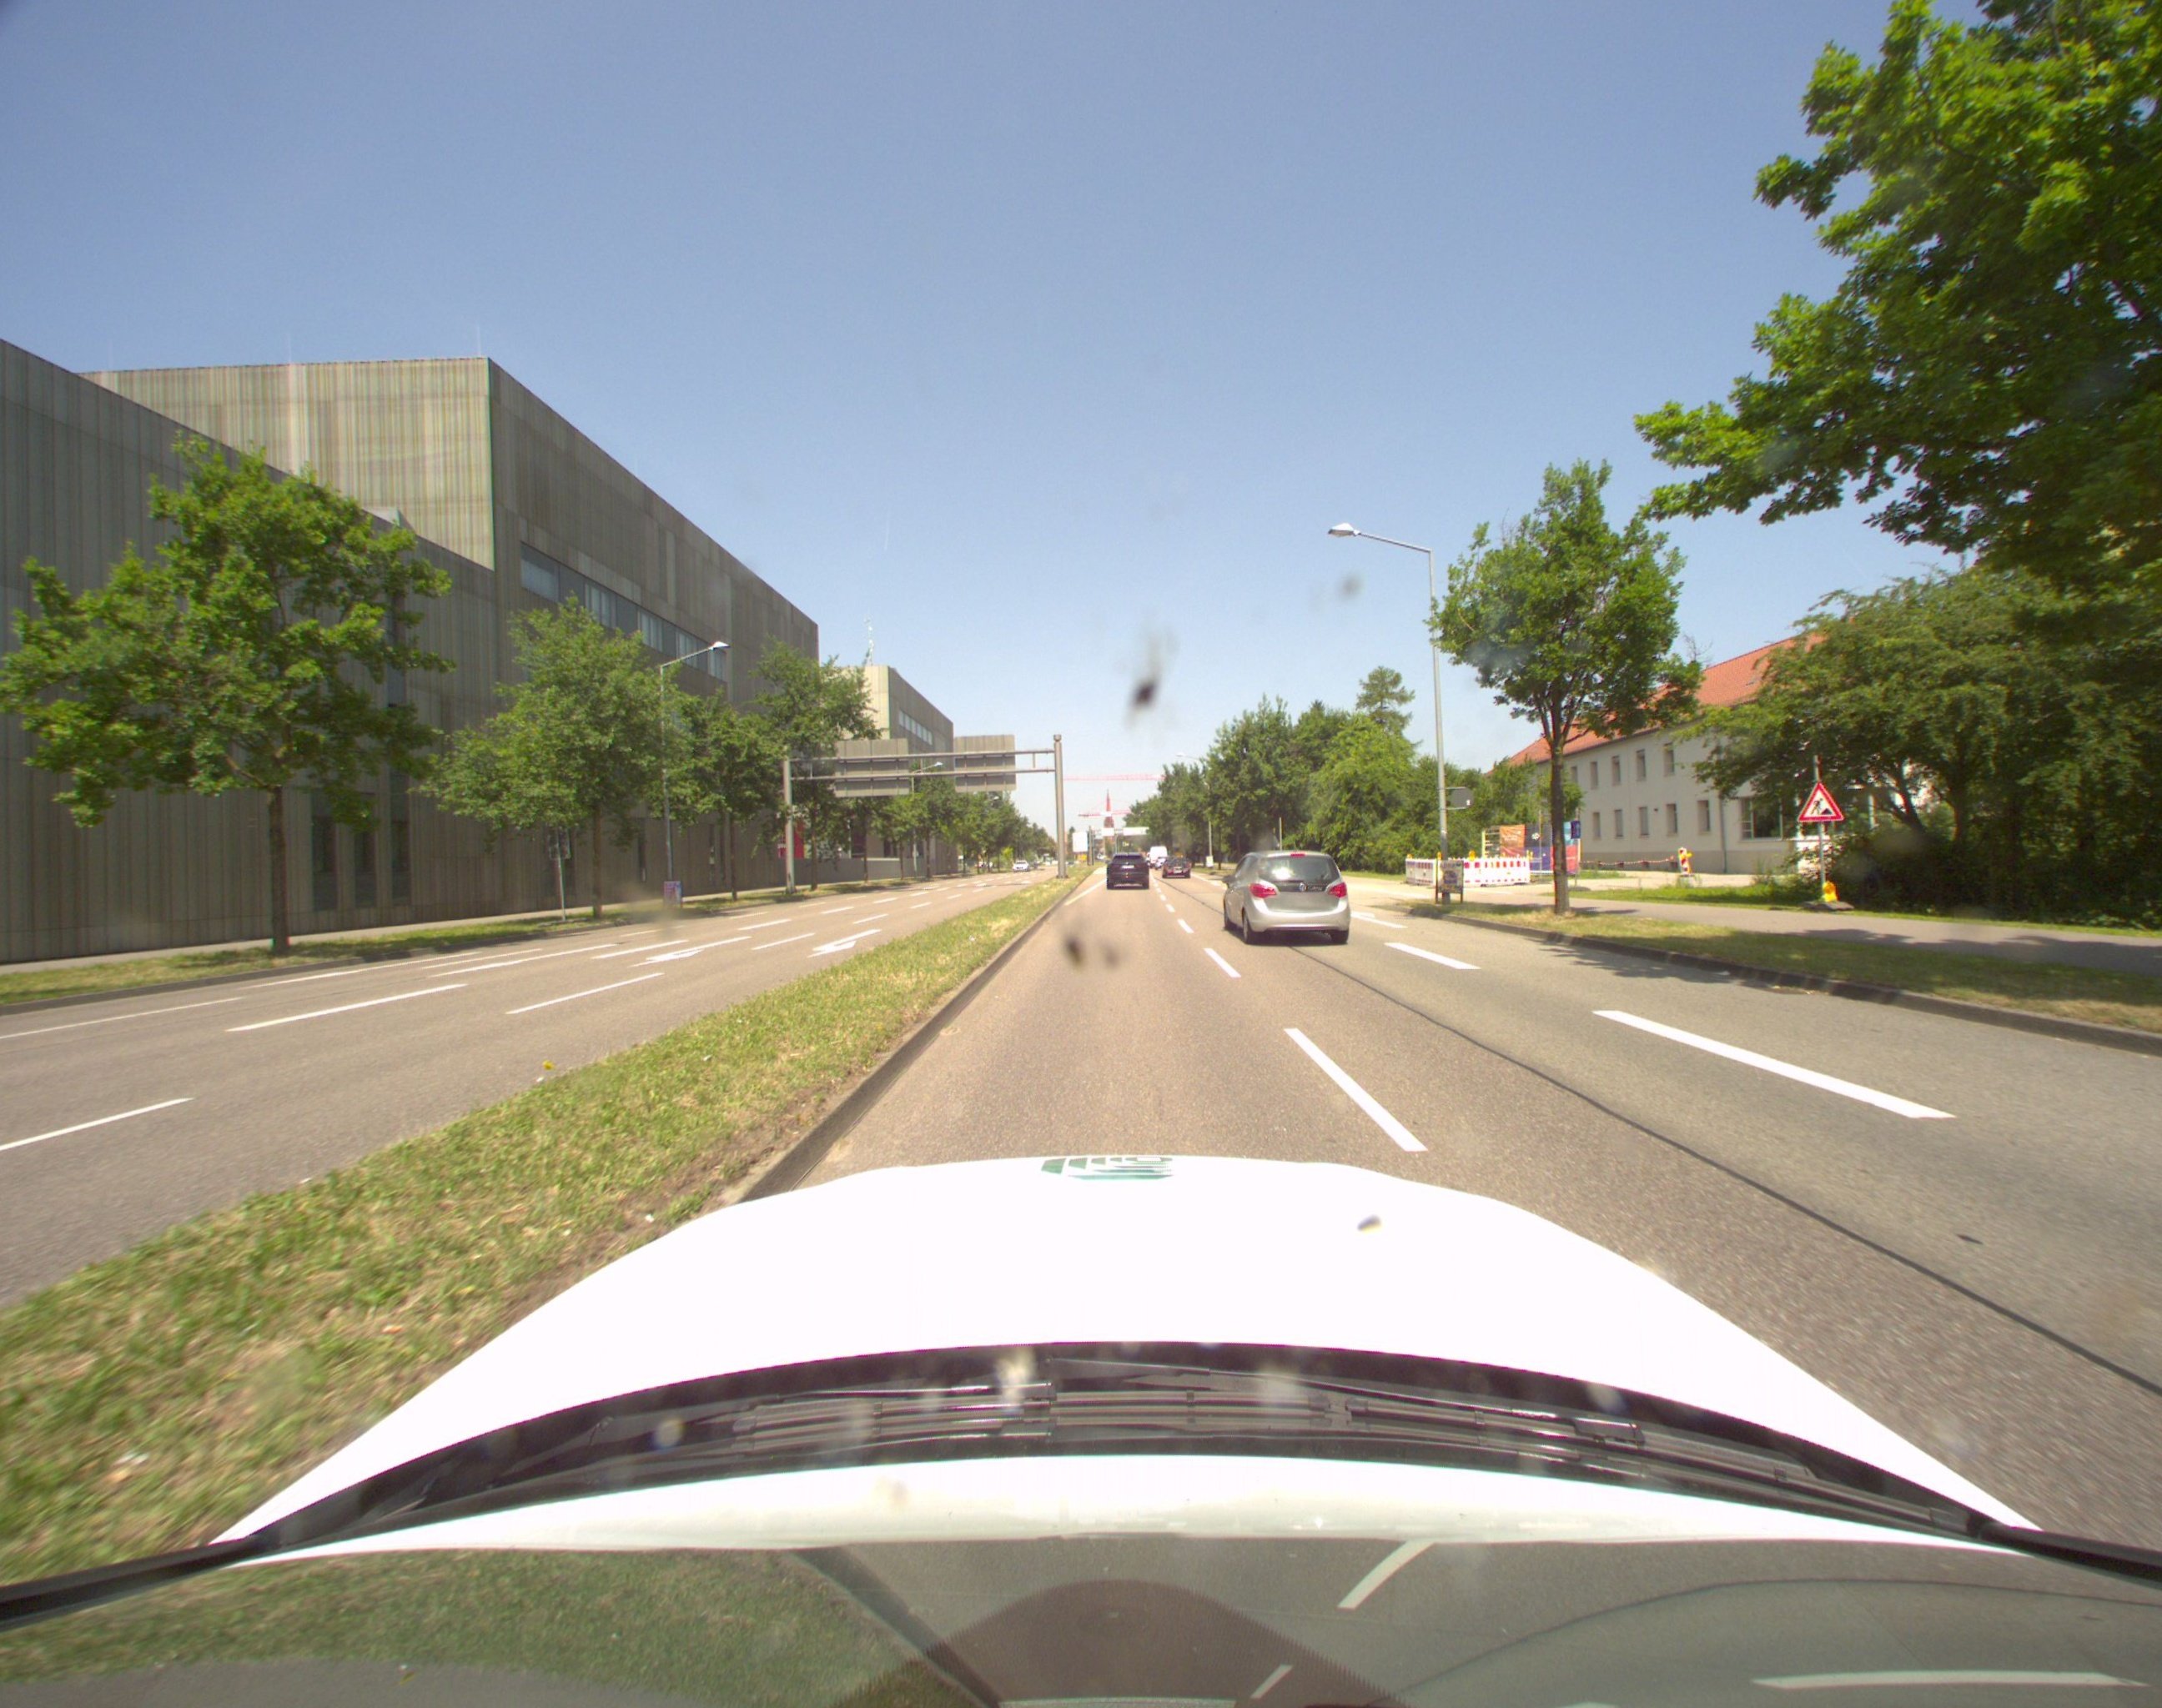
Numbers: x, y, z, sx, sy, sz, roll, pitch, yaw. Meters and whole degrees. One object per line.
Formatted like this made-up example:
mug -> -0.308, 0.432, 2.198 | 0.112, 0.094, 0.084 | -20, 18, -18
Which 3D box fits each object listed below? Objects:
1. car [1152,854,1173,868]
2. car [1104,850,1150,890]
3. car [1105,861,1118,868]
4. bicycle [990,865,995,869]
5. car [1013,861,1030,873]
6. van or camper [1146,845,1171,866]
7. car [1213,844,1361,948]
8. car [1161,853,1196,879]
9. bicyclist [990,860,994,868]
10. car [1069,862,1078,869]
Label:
car -> 8.401, 0.740, 84.036 | 1.649, 1.356, 4.459 | -2, -1, 0
car -> 2.139, 0.703, 37.646 | 1.989, 1.689, 4.037 | -1, 0, 3
car -> 5.614, 1.955, 150.814 | 1.988, 1.321, 3.997 | -2, 0, -2
bicycle -> -15.807, 2.253, 144.978 | 0.478, 0.715, 1.853 | -2, -1, 5
car -> -7.523, 1.615, 103.273 | 1.804, 1.427, 4.358 | -3, 0, 0
van or camper -> 9.050, 0.213, 95.505 | 2.485, 2.291, 4.920 | -2, -1, 0
car -> 3.608, 0.674, 14.993 | 1.786, 1.612, 3.892 | -2, 0, 1
car -> 6.343, 0.772, 53.238 | 2.005, 1.517, 4.465 | -2, -1, 4
bicyclist -> -15.847, 1.786, 144.884 | 0.620, 1.489, 0.758 | -2, -1, 5
car -> -1.665, 2.476, 178.065 | 1.702, 1.472, 3.940 | -3, 0, 0
